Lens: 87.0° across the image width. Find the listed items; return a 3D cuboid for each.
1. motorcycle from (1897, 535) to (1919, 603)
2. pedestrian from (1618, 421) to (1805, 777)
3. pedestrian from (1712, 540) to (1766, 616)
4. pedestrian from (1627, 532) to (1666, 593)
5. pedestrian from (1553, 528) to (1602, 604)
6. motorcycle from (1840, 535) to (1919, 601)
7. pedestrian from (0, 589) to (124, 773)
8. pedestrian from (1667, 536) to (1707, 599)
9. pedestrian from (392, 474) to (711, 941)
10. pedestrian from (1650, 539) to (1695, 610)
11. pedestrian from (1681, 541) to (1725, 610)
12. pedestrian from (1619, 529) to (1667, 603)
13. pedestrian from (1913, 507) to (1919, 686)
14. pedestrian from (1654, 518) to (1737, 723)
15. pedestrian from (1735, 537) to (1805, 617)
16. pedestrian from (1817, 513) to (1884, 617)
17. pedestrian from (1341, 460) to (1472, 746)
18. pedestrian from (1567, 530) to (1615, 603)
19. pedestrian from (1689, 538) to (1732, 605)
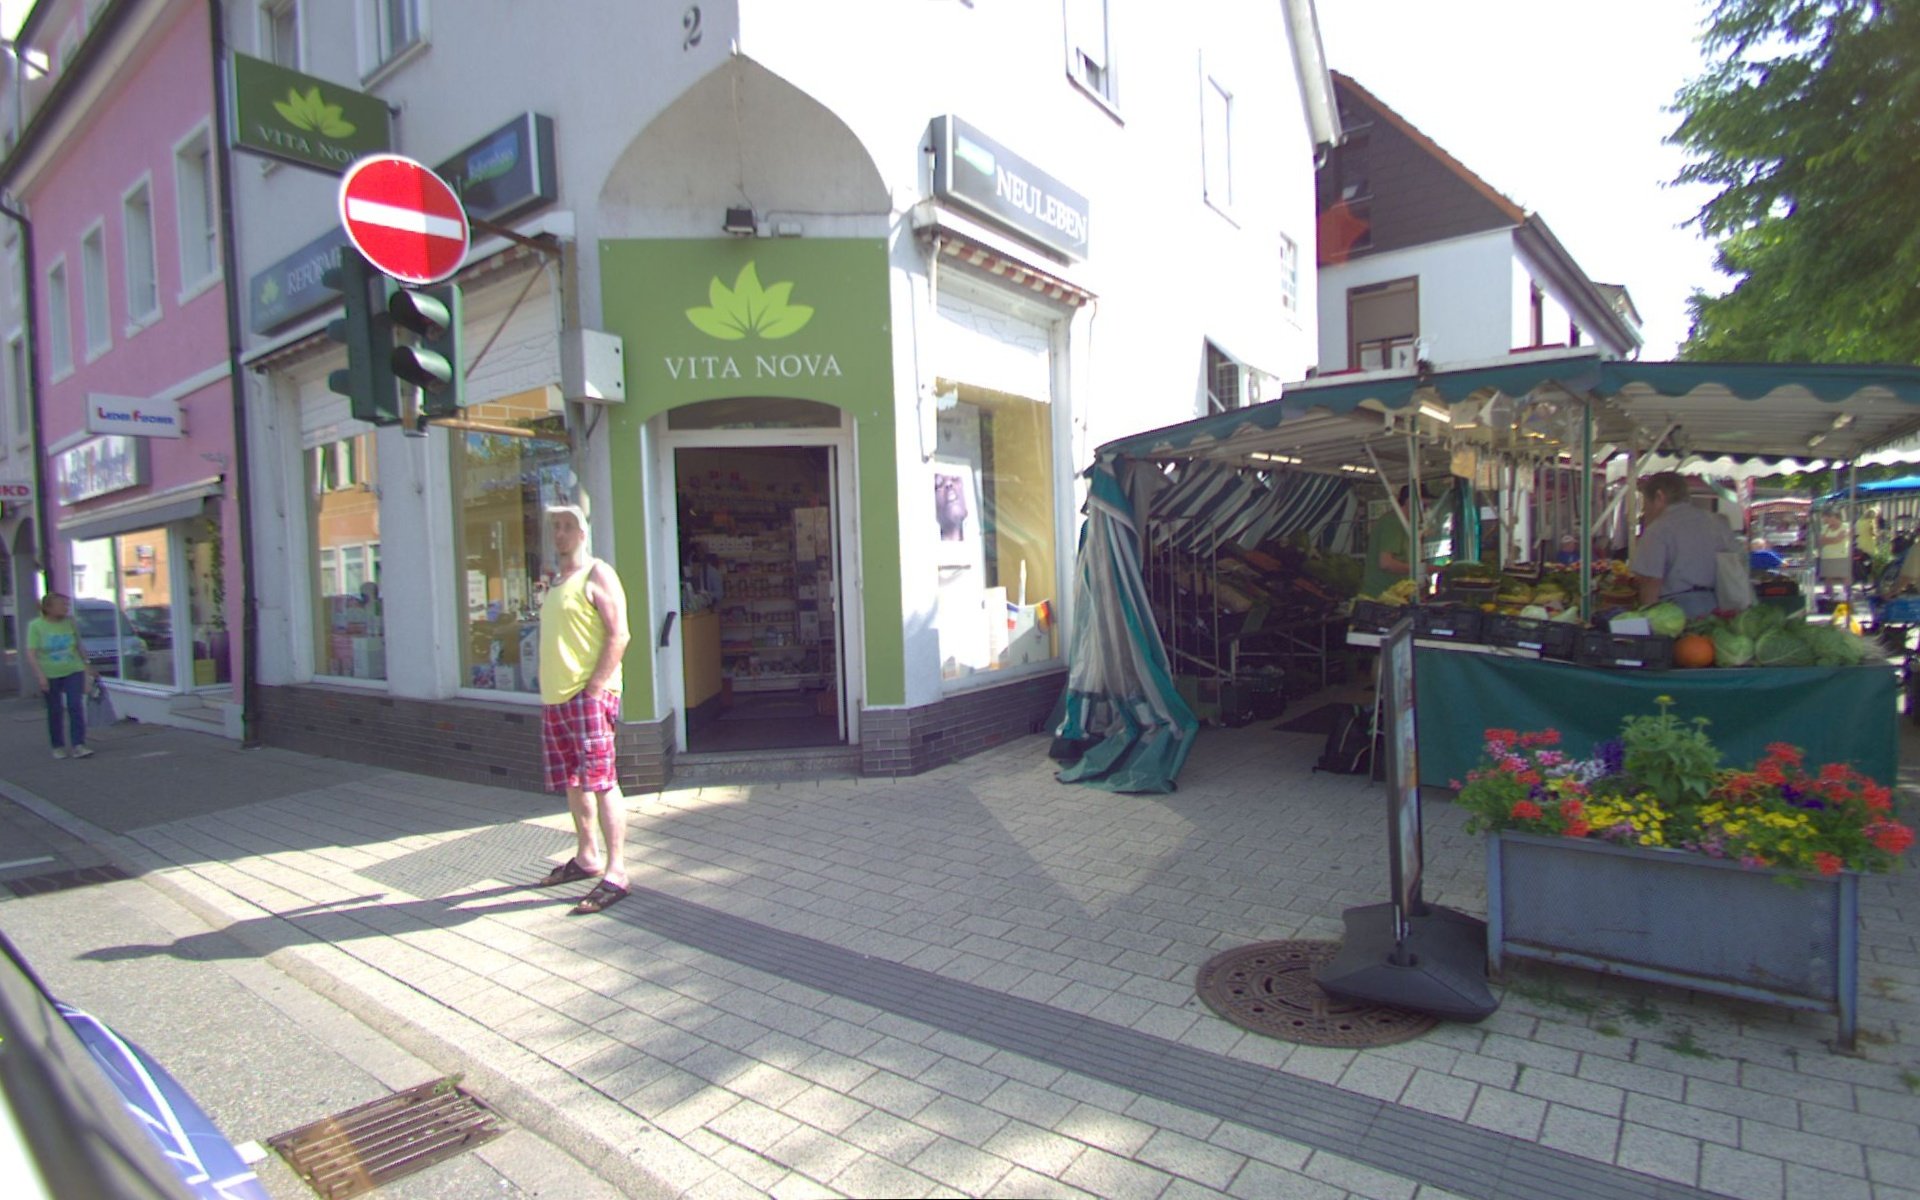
[{"bbox_3d":[17.698,-0.537,17.563,0.633,1.204,2.010,-3,4,-37],"label":"motorcycle"},{"bbox_3d":[4.499,-0.005,6.110,0.701,2.000,0.649,-1,1,18],"label":"pedestrian"},{"bbox_3d":[12.757,-0.369,16.588,0.570,1.210,0.644,1,3,29],"label":"pedestrian"},{"bbox_3d":[13.814,-0.765,20.370,0.572,1.210,0.642,2,4,40],"label":"pedestrian"},{"bbox_3d":[11.160,-0.629,18.282,0.626,1.340,0.690,2,4,42],"label":"pedestrian"},{"bbox_3d":[17.596,-0.608,19.014,1.531,1.204,0.635,2,3,39],"label":"motorcycle"},{"bbox_3d":[-8.828,0.750,9.881,0.858,1.644,0.778,-2,3,40],"label":"pedestrian"},{"bbox_3d":[14.088,-0.638,19.611,0.572,1.210,0.642,2,4,40],"label":"pedestrian"},{"bbox_3d":[-1.764,0.409,4.606,1.005,1.827,0.910,-5,5,-10],"label":"pedestrian"},{"bbox_3d":[12.428,-0.460,17.646,0.572,1.210,0.642,2,4,40],"label":"pedestrian"},{"bbox_3d":[13.444,-0.450,18.313,0.572,1.210,0.642,2,4,40],"label":"pedestrian"},{"bbox_3d":[12.694,-0.635,18.813,0.626,1.340,0.690,2,4,42],"label":"pedestrian"},{"bbox_3d":[8.512,-0.029,8.545,0.621,1.529,0.625,-1,1,40],"label":"pedestrian"},{"bbox_3d":[6.184,0.159,8.535,0.521,1.639,0.699,-1,1,35],"label":"pedestrian"},{"bbox_3d":[12.471,-0.363,15.605,0.695,1.210,0.567,1,3,26],"label":"pedestrian"},{"bbox_3d":[13.841,-0.551,15.733,0.564,1.565,0.700,-3,4,-45],"label":"pedestrian"},{"bbox_3d":[3.259,0.010,7.400,0.695,1.985,0.510,-2,1,-25],"label":"pedestrian"},{"bbox_3d":[11.803,-0.634,18.937,0.626,1.340,0.690,2,4,42],"label":"pedestrian"},{"bbox_3d":[13.922,-0.541,18.768,0.572,1.210,0.642,2,4,40],"label":"pedestrian"}]
